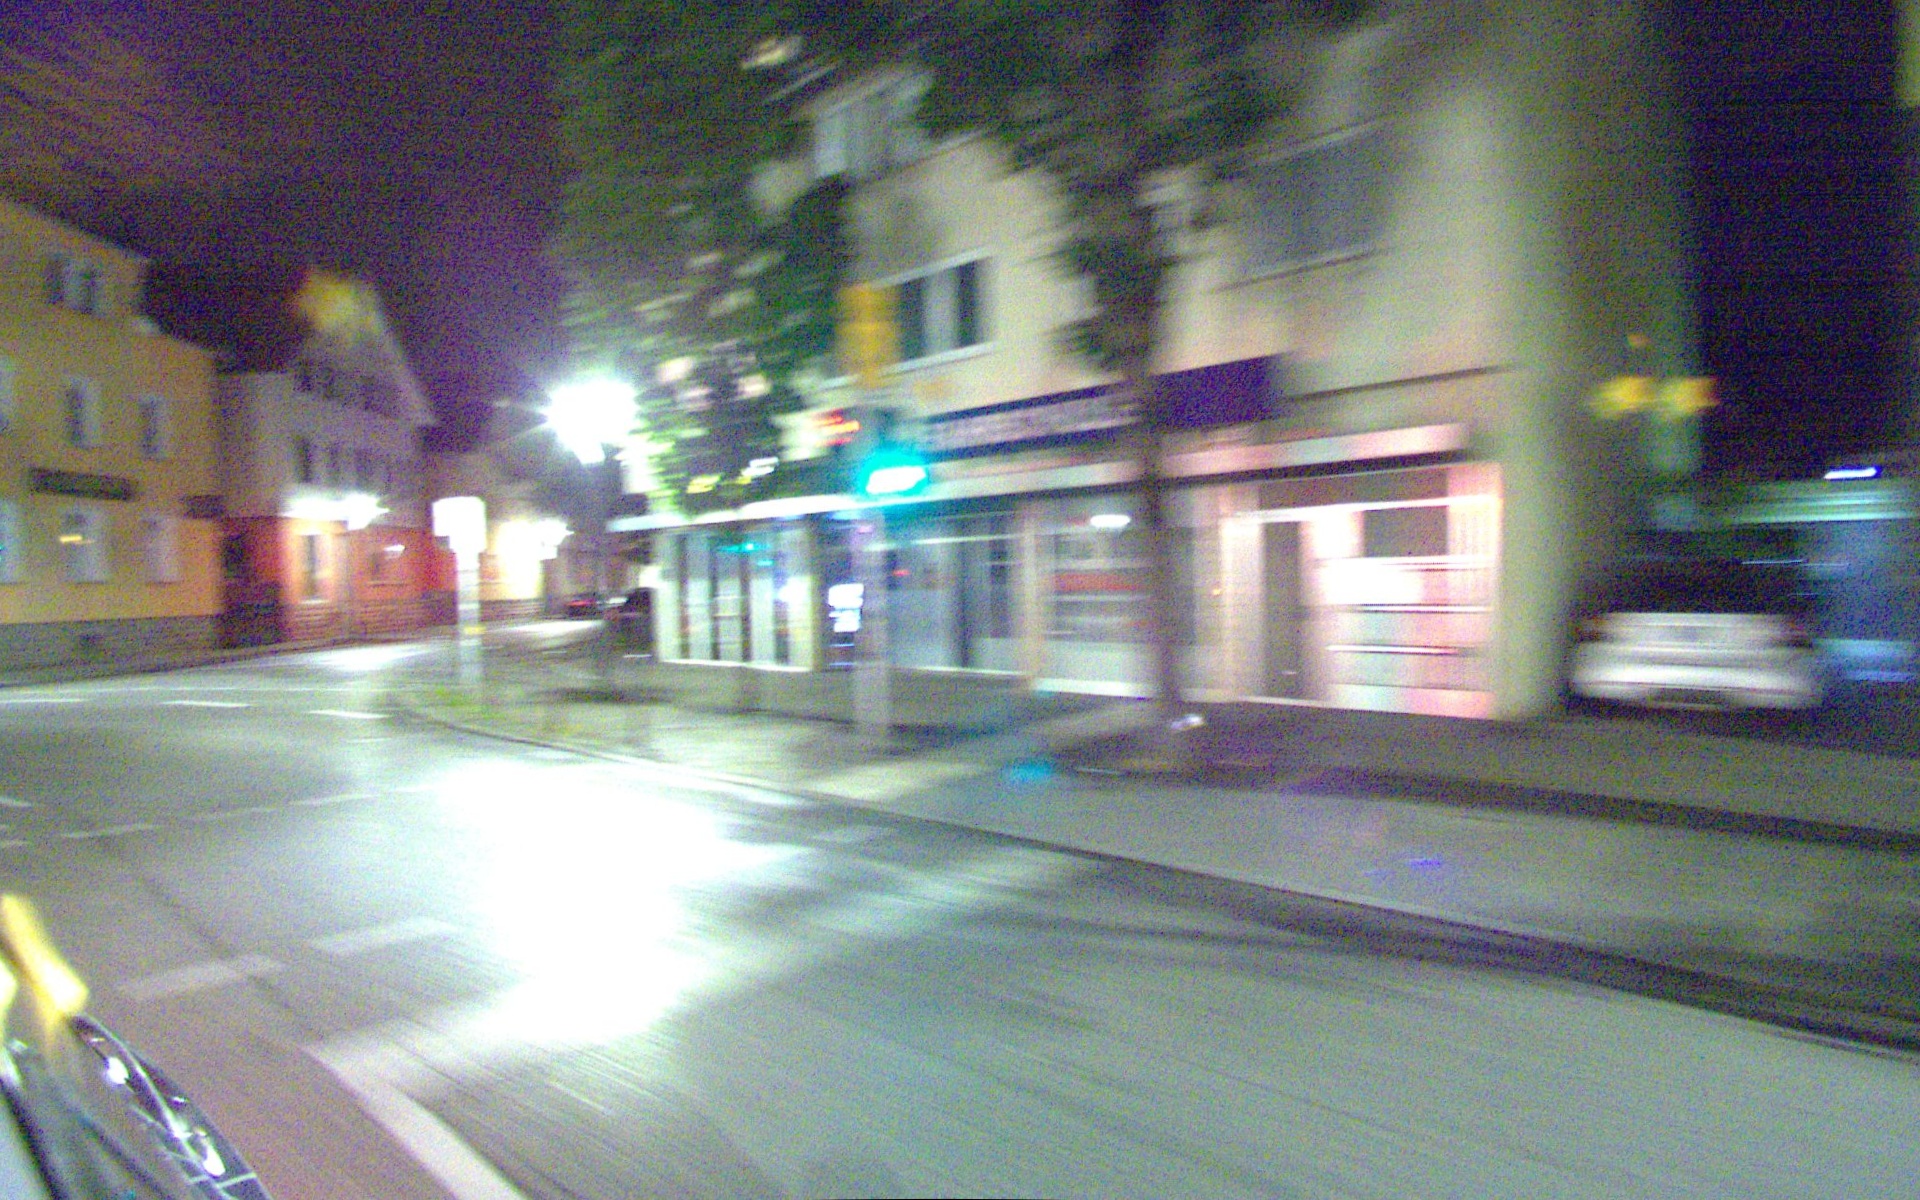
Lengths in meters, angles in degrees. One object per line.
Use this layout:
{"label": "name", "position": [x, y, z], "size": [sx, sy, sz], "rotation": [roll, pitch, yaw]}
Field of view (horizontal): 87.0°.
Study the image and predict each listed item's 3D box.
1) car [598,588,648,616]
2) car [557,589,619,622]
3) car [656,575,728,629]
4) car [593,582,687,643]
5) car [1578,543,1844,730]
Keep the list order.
{"label": "car", "position": [-19.796, 0.071, 59.614], "size": [1.687, 1.530, 4.002], "rotation": [-2, 1, -2]}
{"label": "car", "position": [-18.702, 0.227, 51.031], "size": [1.710, 1.530, 4.002], "rotation": [-2, 1, -2]}
{"label": "car", "position": [-10.315, 0.039, 39.263], "size": [1.900, 1.922, 4.181], "rotation": [-2, 1, -4]}
{"label": "car", "position": [-10.110, 0.345, 32.302], "size": [1.900, 1.763, 4.181], "rotation": [-2, 1, -4]}
{"label": "car", "position": [7.838, 0.245, 10.409], "size": [1.819, 1.538, 3.945], "rotation": [-1, 1, 42]}
